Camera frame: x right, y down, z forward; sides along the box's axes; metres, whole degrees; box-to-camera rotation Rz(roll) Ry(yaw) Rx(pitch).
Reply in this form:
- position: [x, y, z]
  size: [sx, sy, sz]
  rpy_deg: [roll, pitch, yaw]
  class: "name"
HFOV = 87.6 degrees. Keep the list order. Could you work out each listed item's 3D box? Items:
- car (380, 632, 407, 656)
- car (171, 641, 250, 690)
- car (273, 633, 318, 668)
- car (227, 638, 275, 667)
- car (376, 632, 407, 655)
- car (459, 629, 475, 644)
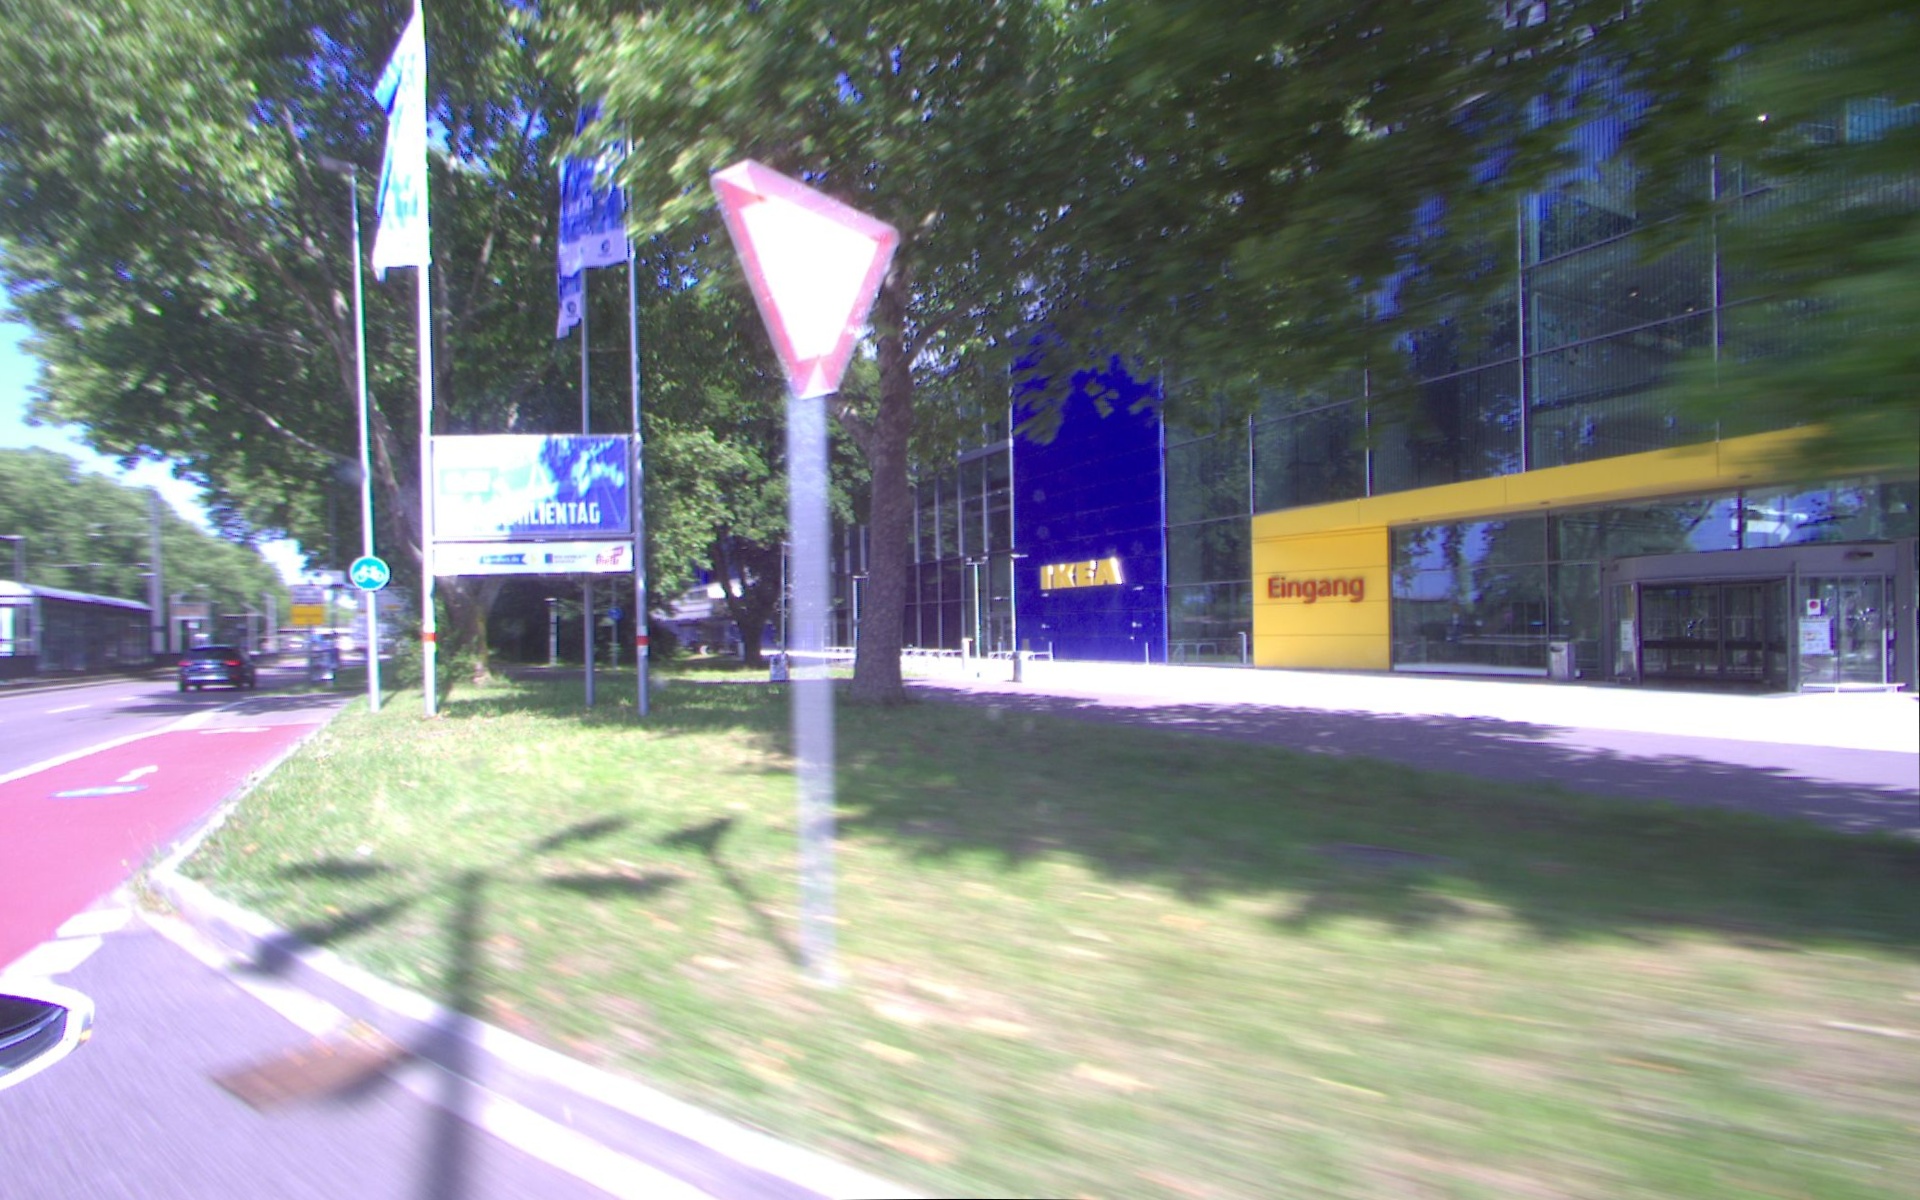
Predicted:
- position: [-50.993, 3.951, 90.160]
  size: [1.971, 2.039, 3.981]
  rpy_deg: [-1, -1, -30]
  class: "car"
- position: [-25.028, 2.175, 33.544]
  size: [1.651, 1.542, 3.362]
  rpy_deg: [1, -3, -29]
  class: "car"
- position: [-41.366, 3.146, 62.410]
  size: [1.971, 2.039, 3.981]
  rpy_deg: [-1, -1, -30]
  class: "car"
- position: [-44.292, 3.252, 62.637]
  size: [1.904, 1.734, 4.143]
  rpy_deg: [-1, -1, -28]
  class: "car"
- position: [-51.691, 3.948, 91.094]
  size: [1.939, 2.039, 3.988]
  rpy_deg: [-1, -1, -23]
  class: "car"
- position: [-73.136, 5.411, 148.563]
  size: [1.967, 2.039, 3.988]
  rpy_deg: [-1, -1, -23]
  class: "car"
